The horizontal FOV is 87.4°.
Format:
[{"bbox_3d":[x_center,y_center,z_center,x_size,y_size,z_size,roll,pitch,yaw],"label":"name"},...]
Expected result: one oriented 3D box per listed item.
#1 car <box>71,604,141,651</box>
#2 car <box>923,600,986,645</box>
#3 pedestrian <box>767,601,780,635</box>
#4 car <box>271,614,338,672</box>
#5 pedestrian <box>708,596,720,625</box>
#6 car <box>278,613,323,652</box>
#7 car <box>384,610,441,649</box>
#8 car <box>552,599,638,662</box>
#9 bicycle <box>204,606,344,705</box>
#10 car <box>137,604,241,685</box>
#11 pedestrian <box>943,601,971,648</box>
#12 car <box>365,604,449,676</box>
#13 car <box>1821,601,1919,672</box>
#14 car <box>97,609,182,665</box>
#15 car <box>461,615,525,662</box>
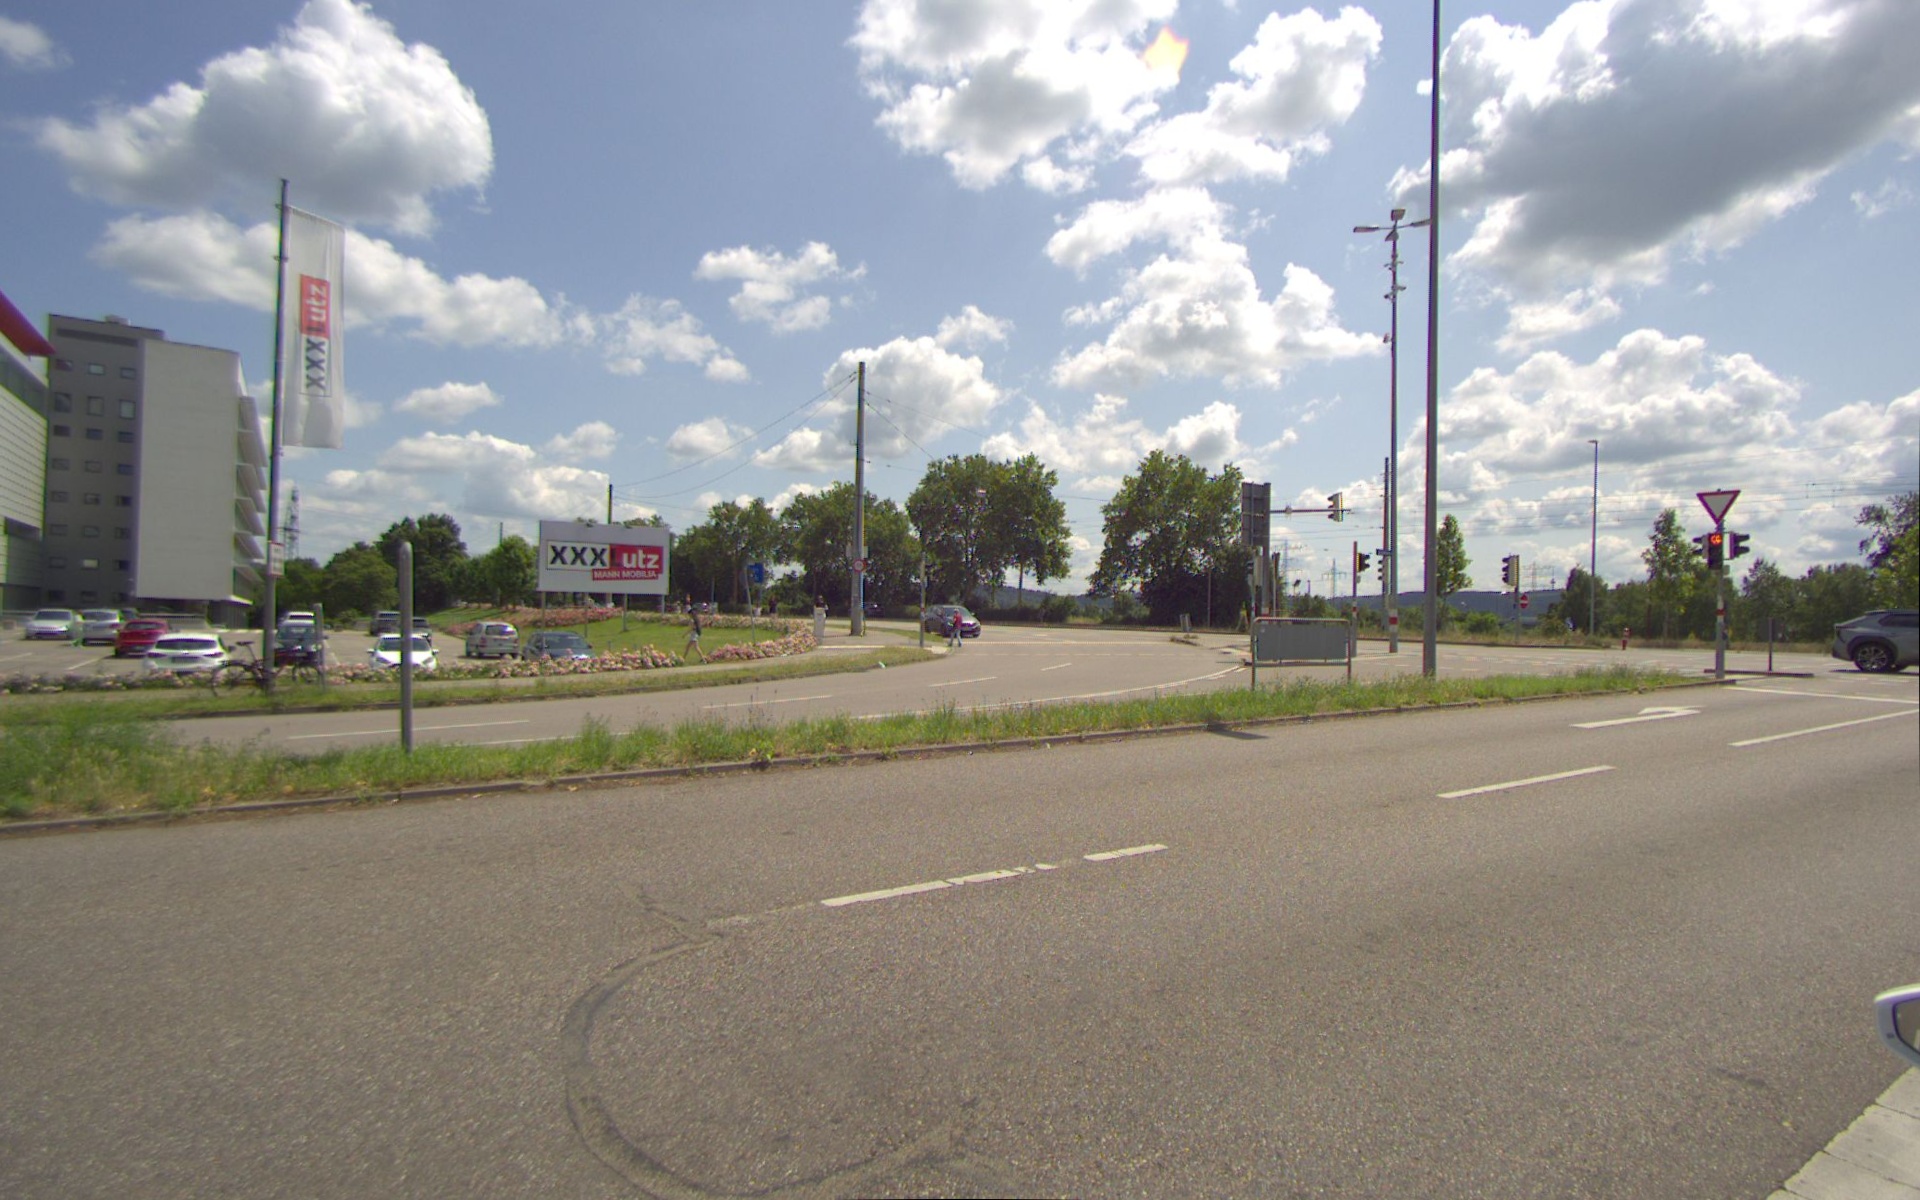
[{"bbox_3d":[-39.256,1.265,46.274,1.980,2.015,4.581,1,-2,-35],"label":"car"},{"bbox_3d":[-0.329,1.102,48.310,1.968,2.040,3.985,0,-2,-18],"label":"car"},{"bbox_3d":[-10.160,0.992,54.757,0.588,1.834,0.532,0,-1,-24],"label":"pedestrian"},{"bbox_3d":[-24.591,1.576,37.657,1.980,2.015,4.321,1,-2,-34],"label":"car"},{"bbox_3d":[-17.200,0.760,70.274,0.761,2.040,0.566,0,-1,-14],"label":"pedestrian"},{"bbox_3d":[-35.991,1.775,54.781,1.980,2.015,4.321,1,-2,-34],"label":"car"},{"bbox_3d":[-29.342,1.586,53.762,2.227,2.015,4.321,1,-2,-34],"label":"car"},{"bbox_3d":[-12.741,1.060,34.925,1.979,2.040,3.964,1,-2,-33],"label":"car"},{"bbox_3d":[-12.350,0.979,18.170,2.027,1.697,1.011,1,-2,-34],"label":"bicycle"},{"bbox_3d":[-21.027,1.178,27.551,1.980,2.015,4.321,1,-2,-34],"label":"car"},{"bbox_3d":[-0.124,0.983,40.633,0.783,1.862,0.866,2,1,27],"label":"pedestrian"},{"bbox_3d":[-16.962,1.195,30.717,1.978,2.040,3.965,1,-2,-33],"label":"car"},{"bbox_3d":[24.145,0.916,24.472,1.885,1.697,4.474,1,0,-35],"label":"car"},{"bbox_3d":[-32.069,1.413,39.208,5.237,2.015,1.988,-1,-2,44],"label":"car"},{"bbox_3d":[-21.354,1.735,45.865,1.980,2.015,4.321,1,-2,-34],"label":"car"}]
